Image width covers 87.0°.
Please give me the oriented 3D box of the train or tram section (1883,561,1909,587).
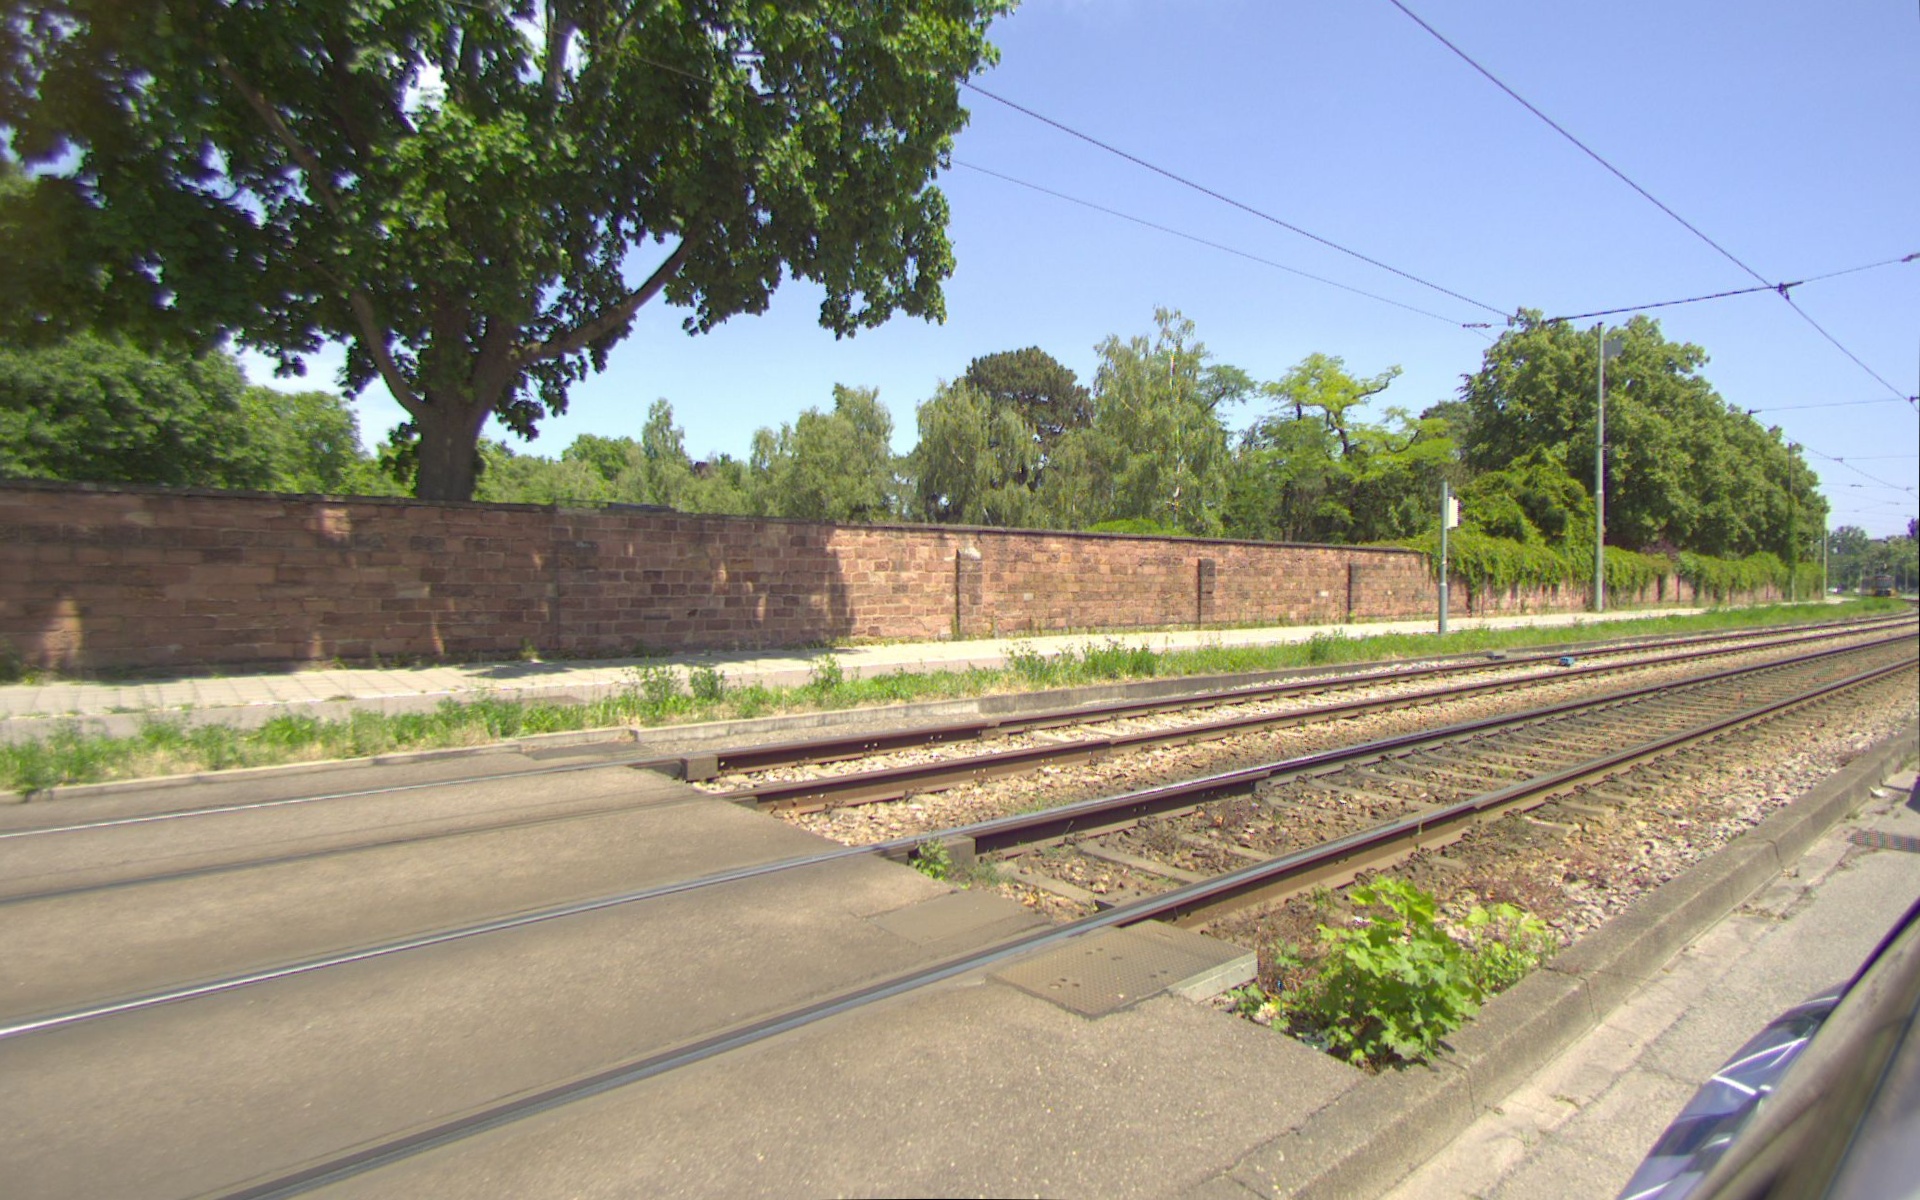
[{"bbox_3d":[149.077,-4.131,161.258,2.804,3.855,14.047,0,1,42],"label":"train or tram section"}]
